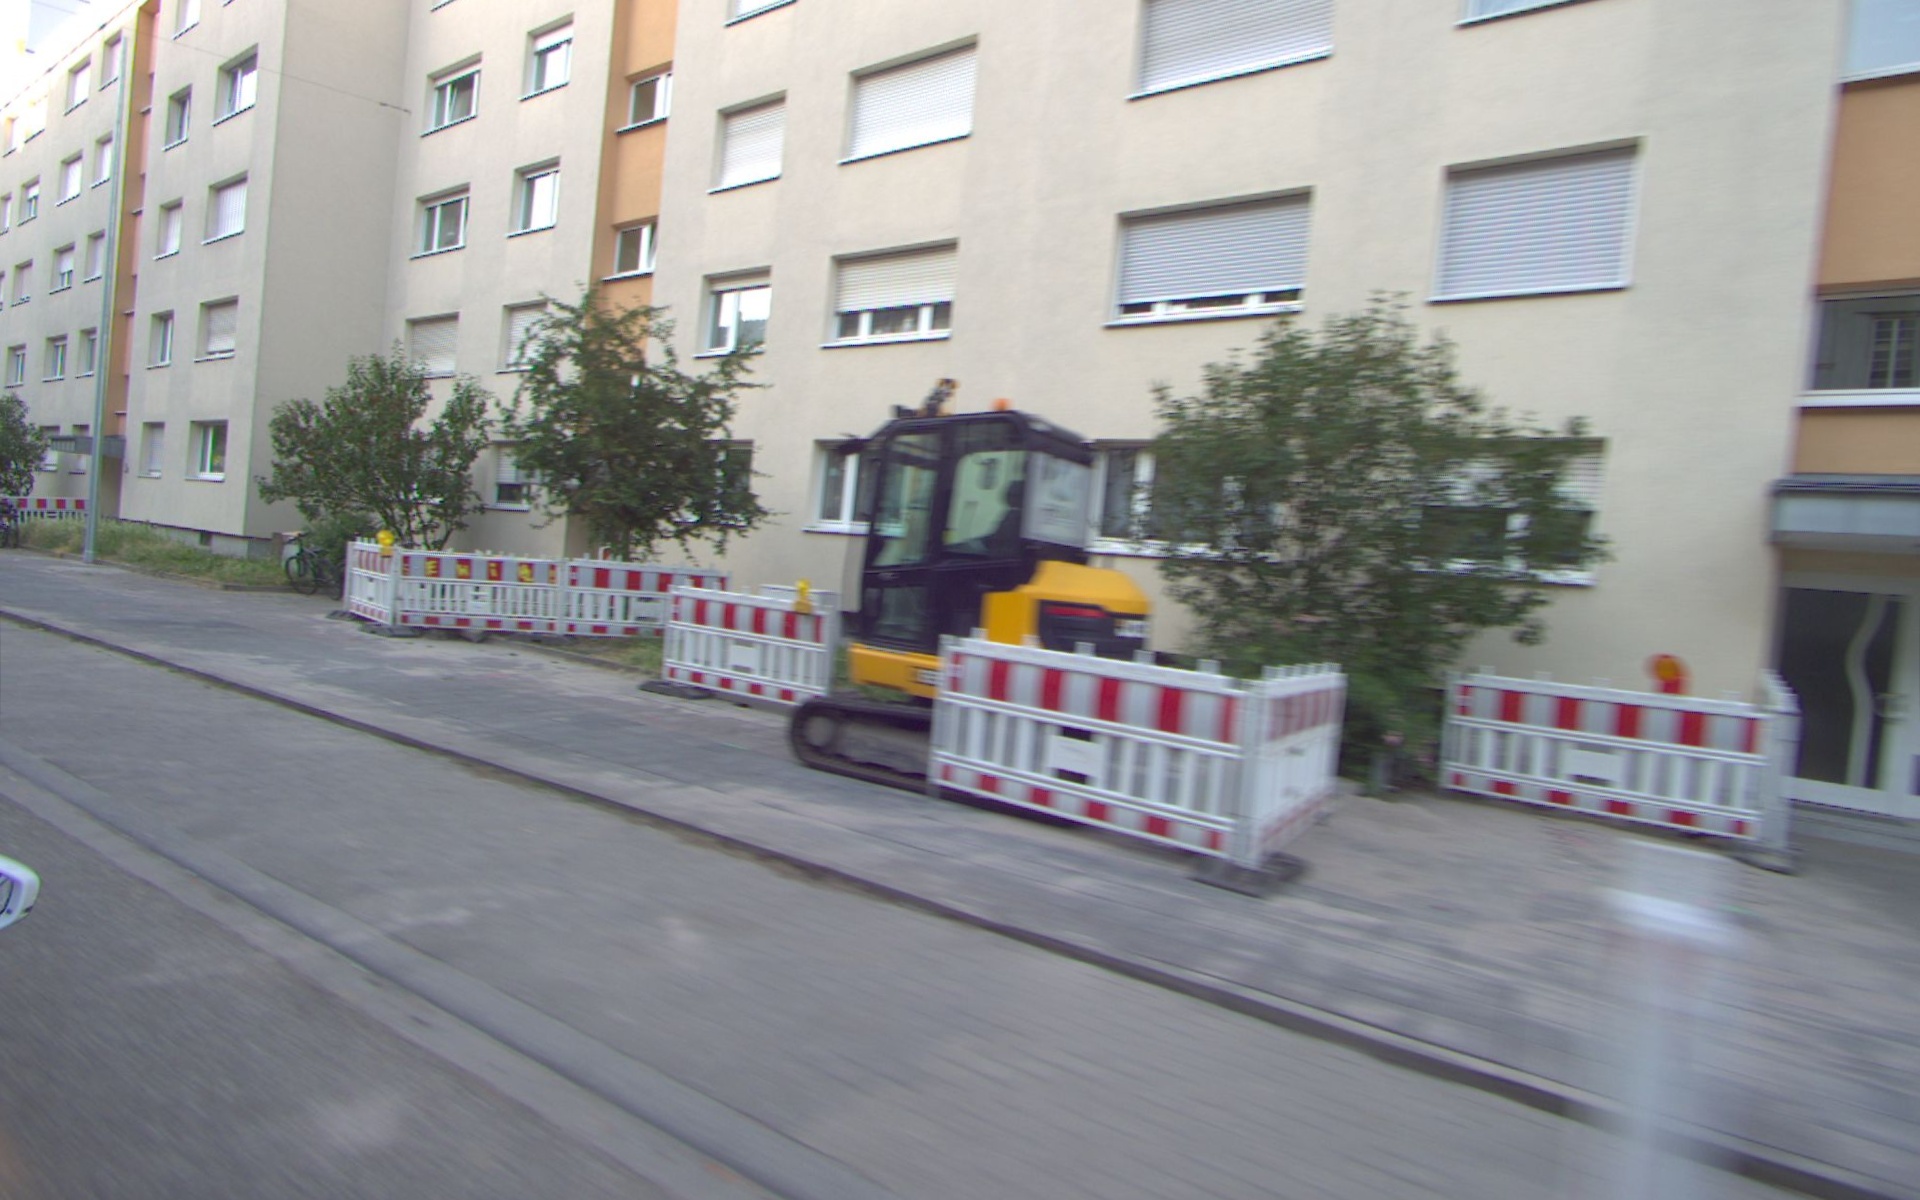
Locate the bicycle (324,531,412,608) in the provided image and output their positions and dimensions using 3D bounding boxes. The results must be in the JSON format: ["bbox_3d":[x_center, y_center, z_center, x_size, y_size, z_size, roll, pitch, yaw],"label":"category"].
[{"bbox_3d":[-10.451,-0.544,17.736,1.788,1.187,0.556,7,1,35],"label":"bicycle"}]

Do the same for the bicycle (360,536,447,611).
[{"bbox_3d":[-10.099,-0.488,18.222,1.788,1.187,0.556,7,1,35],"label":"bicycle"}]

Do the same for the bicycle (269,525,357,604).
[{"bbox_3d":[-11.159,-0.621,17.324,1.788,1.187,0.556,7,1,35],"label":"bicycle"}]

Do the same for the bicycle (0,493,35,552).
[{"bbox_3d":[-21.408,-1.772,22.560,1.795,1.237,0.398,7,1,30],"label":"bicycle"}]

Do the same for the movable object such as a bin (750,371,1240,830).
[{"bbox_3d":[0.238,-0.056,7.571,2.847,2.727,1.932,7,1,36],"label":"movable object such as a bin"}]

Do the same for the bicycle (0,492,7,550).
[{"bbox_3d":[-21.660,-1.813,22.100,1.879,1.237,0.452,7,1,30],"label":"bicycle"}]

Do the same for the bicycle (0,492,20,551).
[{"bbox_3d":[-21.594,-1.798,22.382,1.879,1.237,0.398,7,1,30],"label":"bicycle"}]
